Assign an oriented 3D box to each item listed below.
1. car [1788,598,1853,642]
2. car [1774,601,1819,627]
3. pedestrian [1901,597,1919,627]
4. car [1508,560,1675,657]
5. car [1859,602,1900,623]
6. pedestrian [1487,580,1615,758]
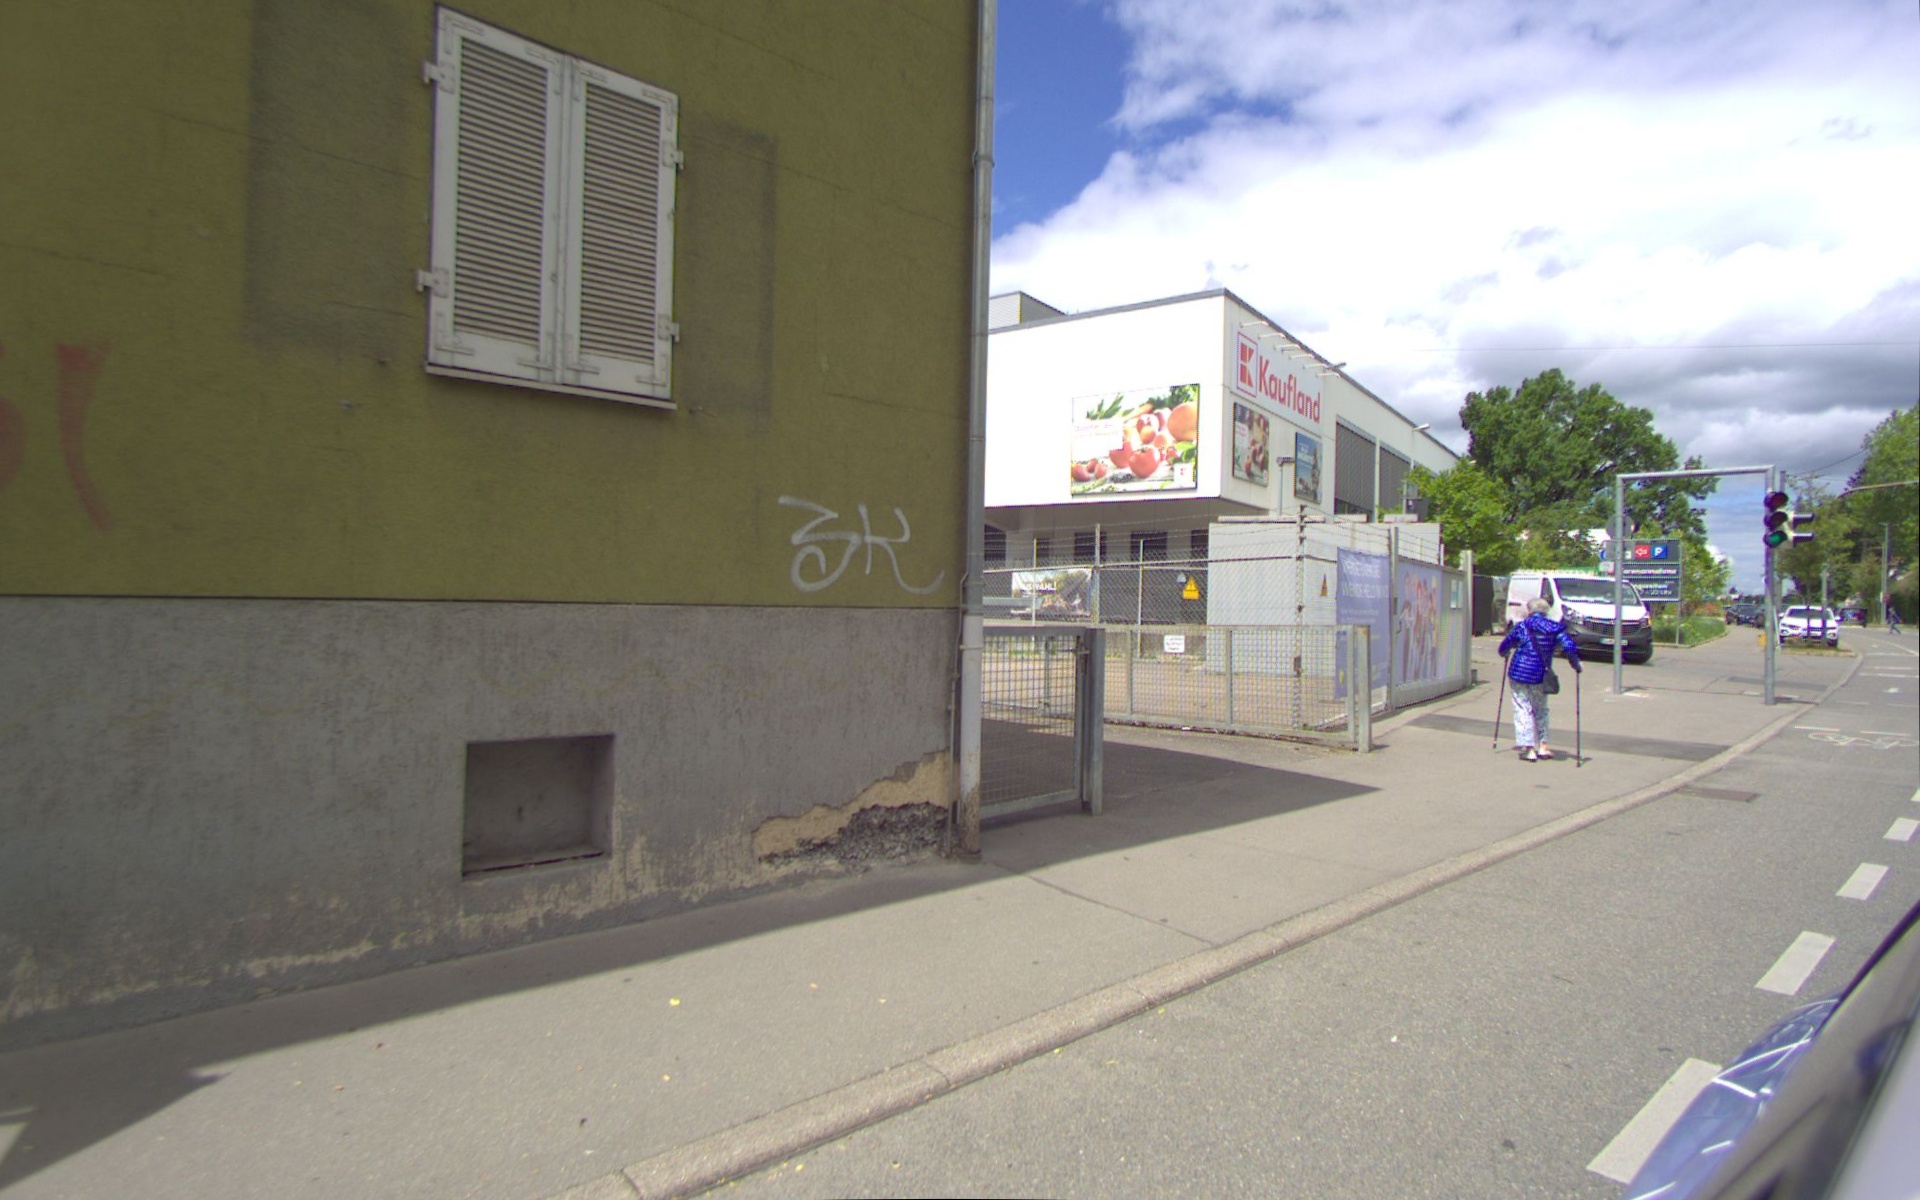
[{"bbox_3d":[33.521,0.738,39.482,1.788,1.549,3.864,4,3,40],"label":"car"},{"bbox_3d":[50.892,0.815,61.649,1.694,1.551,3.951,0,0,34],"label":"car"},{"bbox_3d":[53.744,0.697,57.260,0.546,1.694,0.584,0,-1,20],"label":"pedestrian"},{"bbox_3d":[14.975,0.129,24.378,1.972,2.048,5.324,1,1,16],"label":"car"},{"bbox_3d":[71.482,0.983,78.747,1.839,1.575,3.900,0,0,35],"label":"car"},{"bbox_3d":[5.719,0.618,9.786,0.824,1.591,0.972,2,1,45],"label":"pedestrian"}]
